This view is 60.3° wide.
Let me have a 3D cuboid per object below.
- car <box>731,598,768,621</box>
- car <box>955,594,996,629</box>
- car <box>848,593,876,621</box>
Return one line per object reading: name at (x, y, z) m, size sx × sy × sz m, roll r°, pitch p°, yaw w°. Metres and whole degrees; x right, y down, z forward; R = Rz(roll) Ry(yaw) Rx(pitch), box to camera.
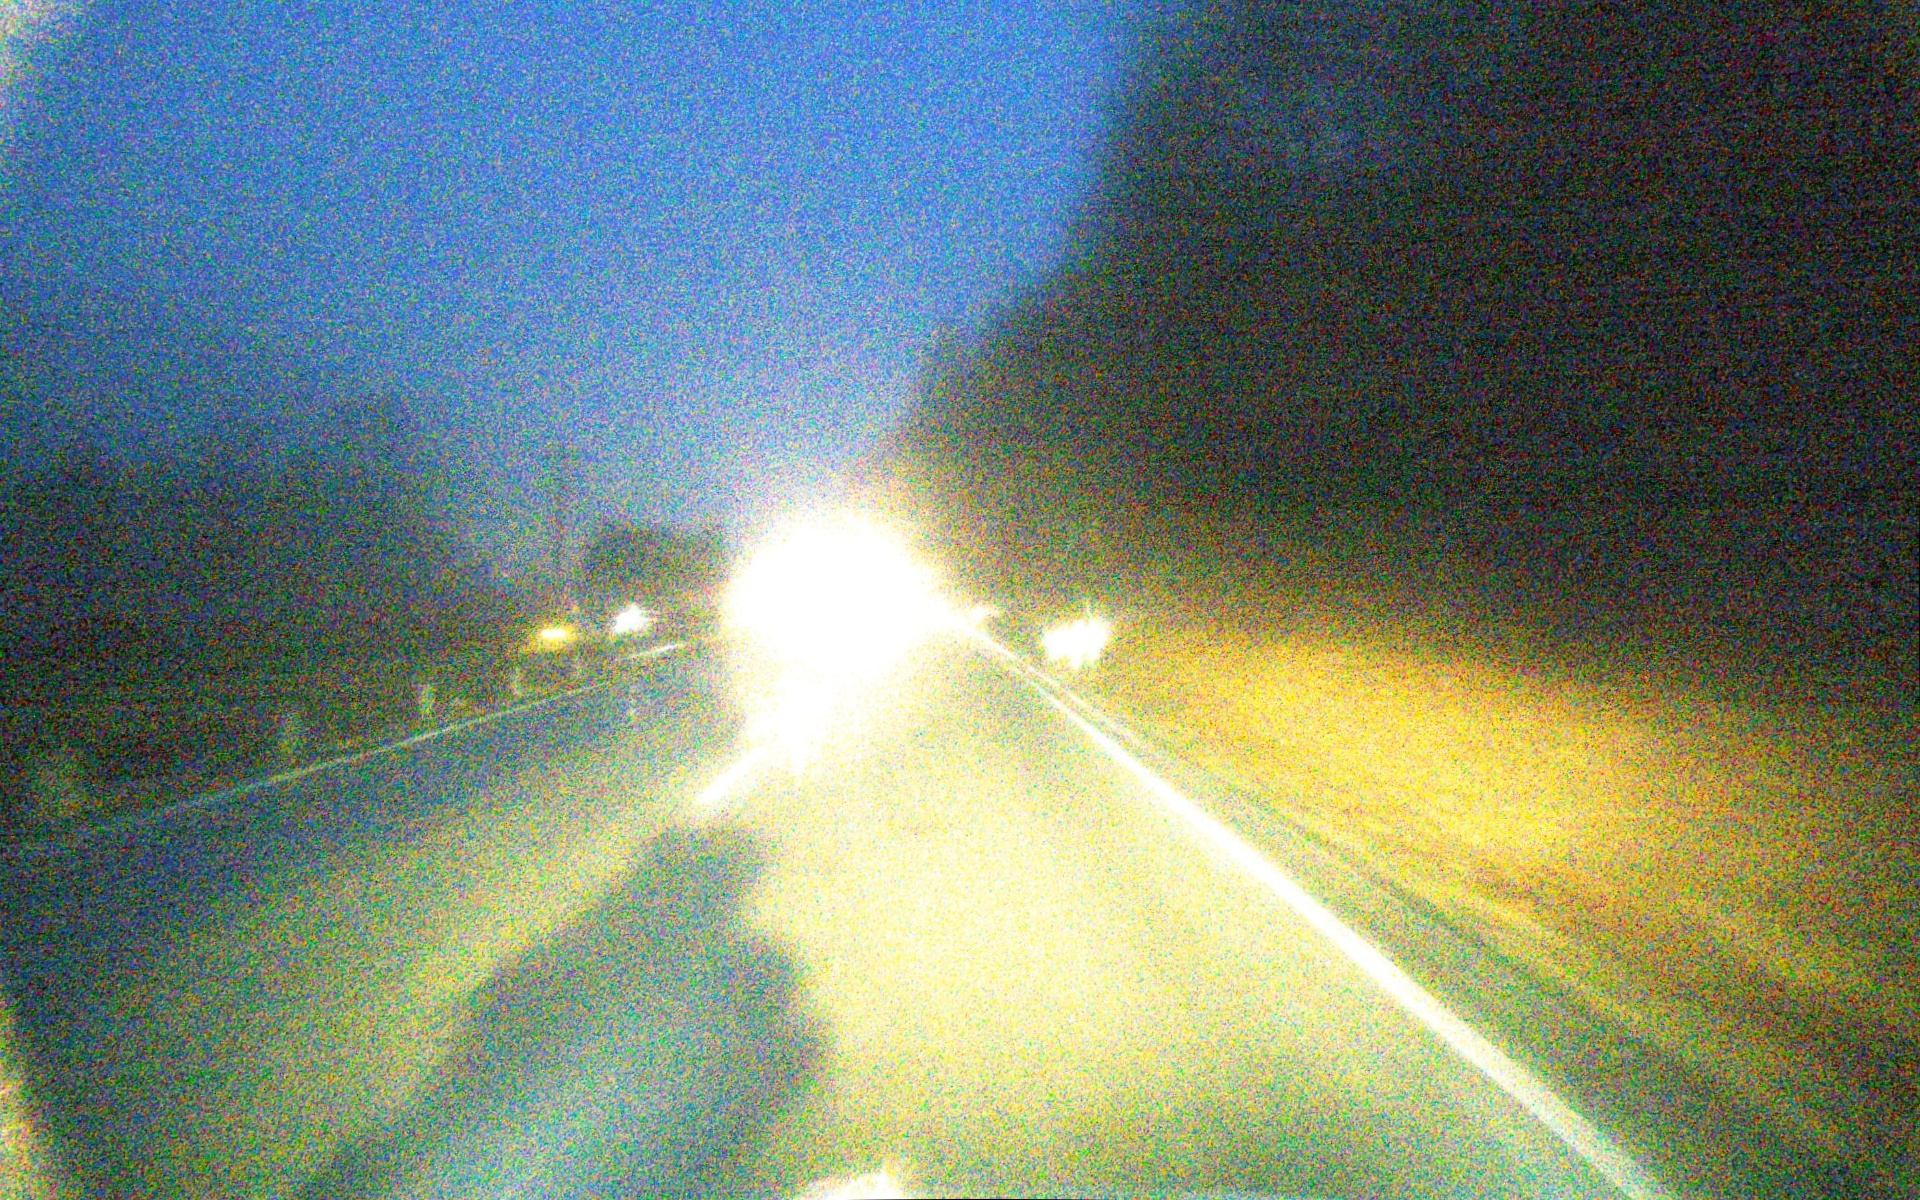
car at (-14.126, 0.619, 111.365) m, size 1.953 × 1.473 × 4.429 m, roll 2°, pitch 0°, yaw -1°
car at (0.743, 0.529, 80.665) m, size 1.953 × 1.646 × 4.000 m, roll 1°, pitch 0°, yaw 0°
car at (-7.382, 0.493, 124.914) m, size 1.953 × 2.049 × 3.999 m, roll 2°, pitch 0°, yaw -1°
